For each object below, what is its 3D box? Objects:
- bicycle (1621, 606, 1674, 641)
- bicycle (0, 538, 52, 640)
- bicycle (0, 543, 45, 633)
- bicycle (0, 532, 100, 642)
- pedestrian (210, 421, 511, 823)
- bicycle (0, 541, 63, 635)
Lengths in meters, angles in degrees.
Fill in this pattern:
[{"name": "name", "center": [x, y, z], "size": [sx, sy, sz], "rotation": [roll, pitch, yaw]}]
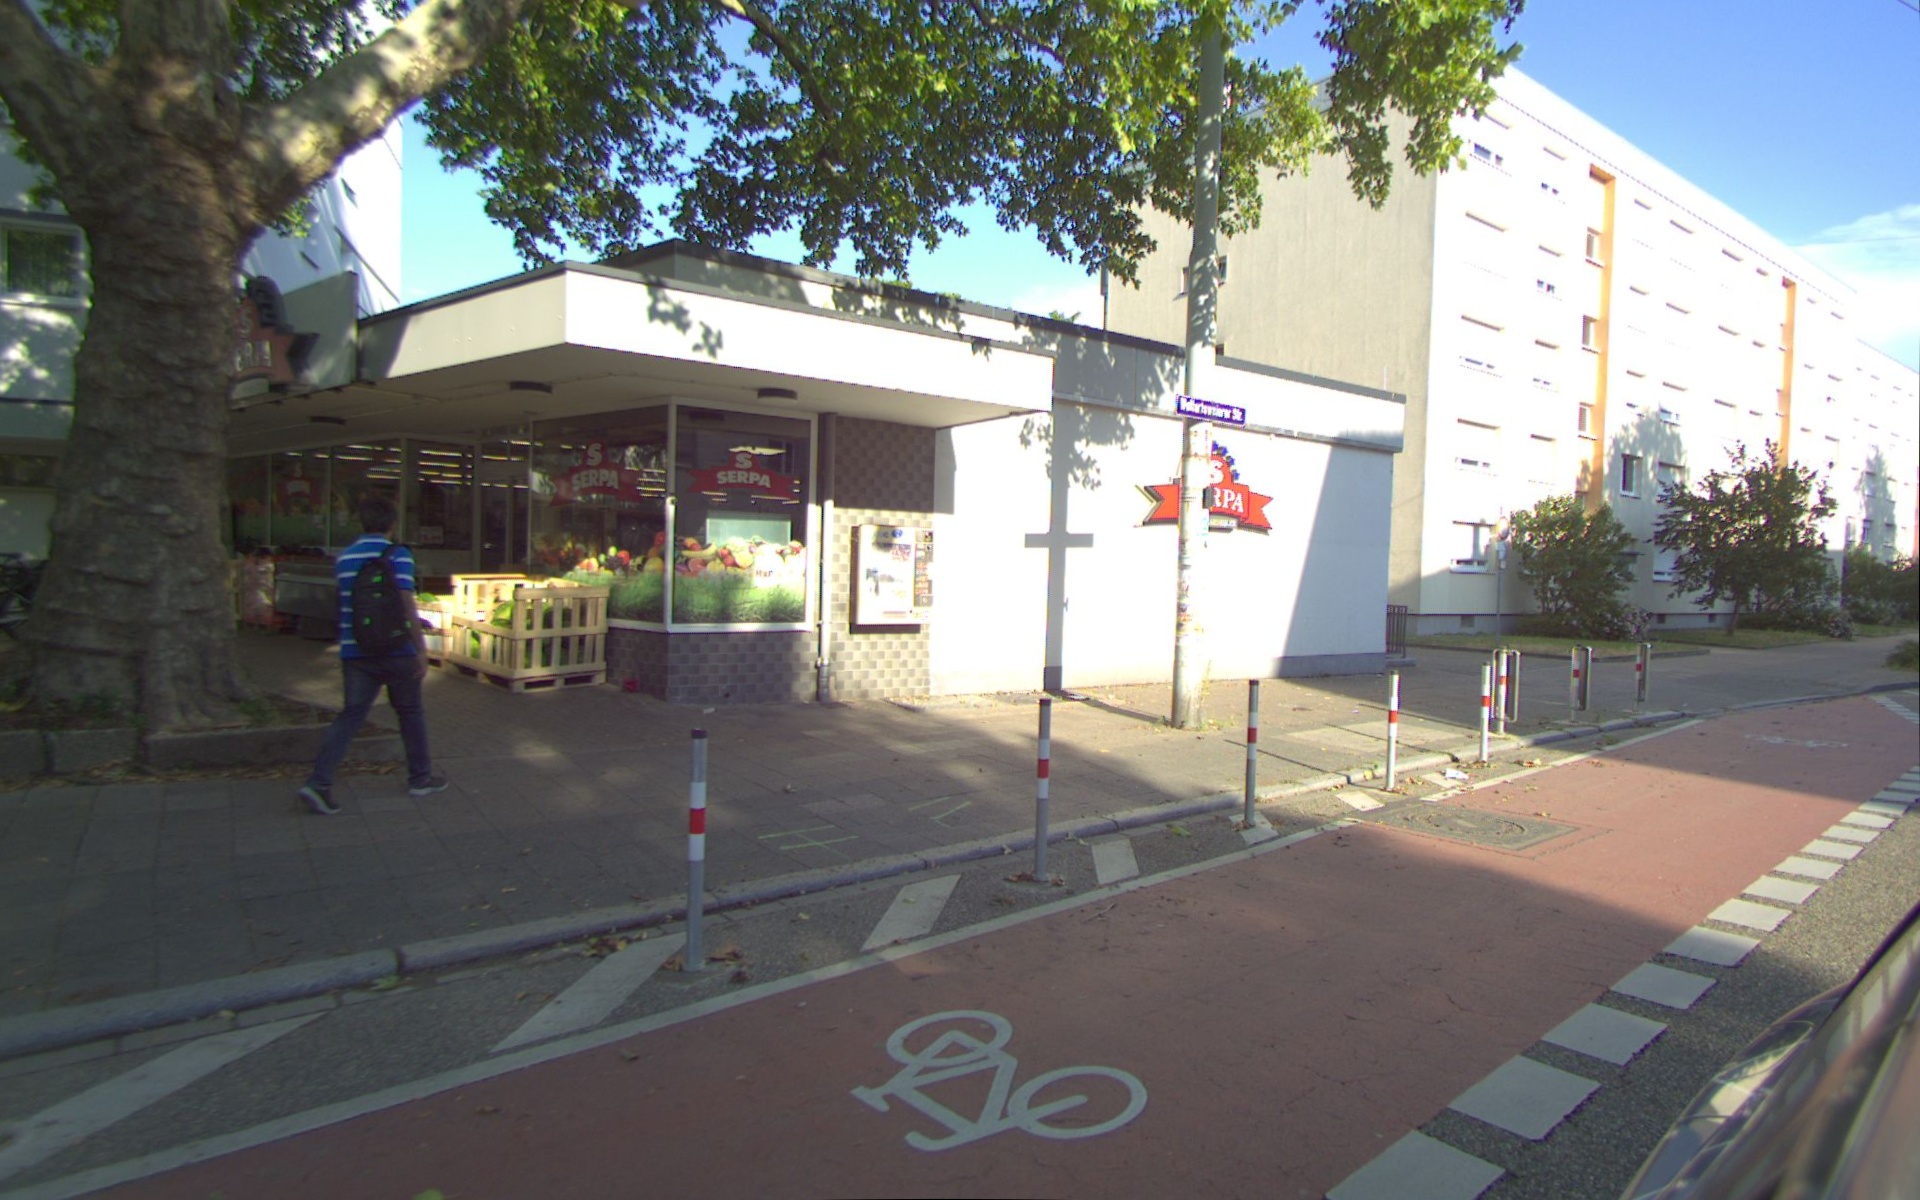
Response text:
[{"name": "bicycle", "center": [19.258, 0.674, 28.329], "size": [2.189, 0.937, 0.637], "rotation": [2, -1, -39]}, {"name": "bicycle", "center": [-11.894, -0.118, 11.372], "size": [0.762, 1.188, 2.399], "rotation": [0, 1, 32]}, {"name": "bicycle", "center": [-13.477, -0.148, 13.035], "size": [0.762, 1.188, 2.399], "rotation": [0, 1, 32]}, {"name": "bicycle", "center": [-10.935, -0.137, 10.926], "size": [0.762, 1.188, 2.399], "rotation": [0, 1, 32]}, {"name": "pedestrian", "center": [-3.430, 0.084, 5.883], "size": [0.819, 2.037, 1.146], "rotation": [6, 3, 19]}, {"name": "bicycle", "center": [-12.722, -0.146, 12.466], "size": [0.762, 1.188, 2.399], "rotation": [0, 1, 32]}]
